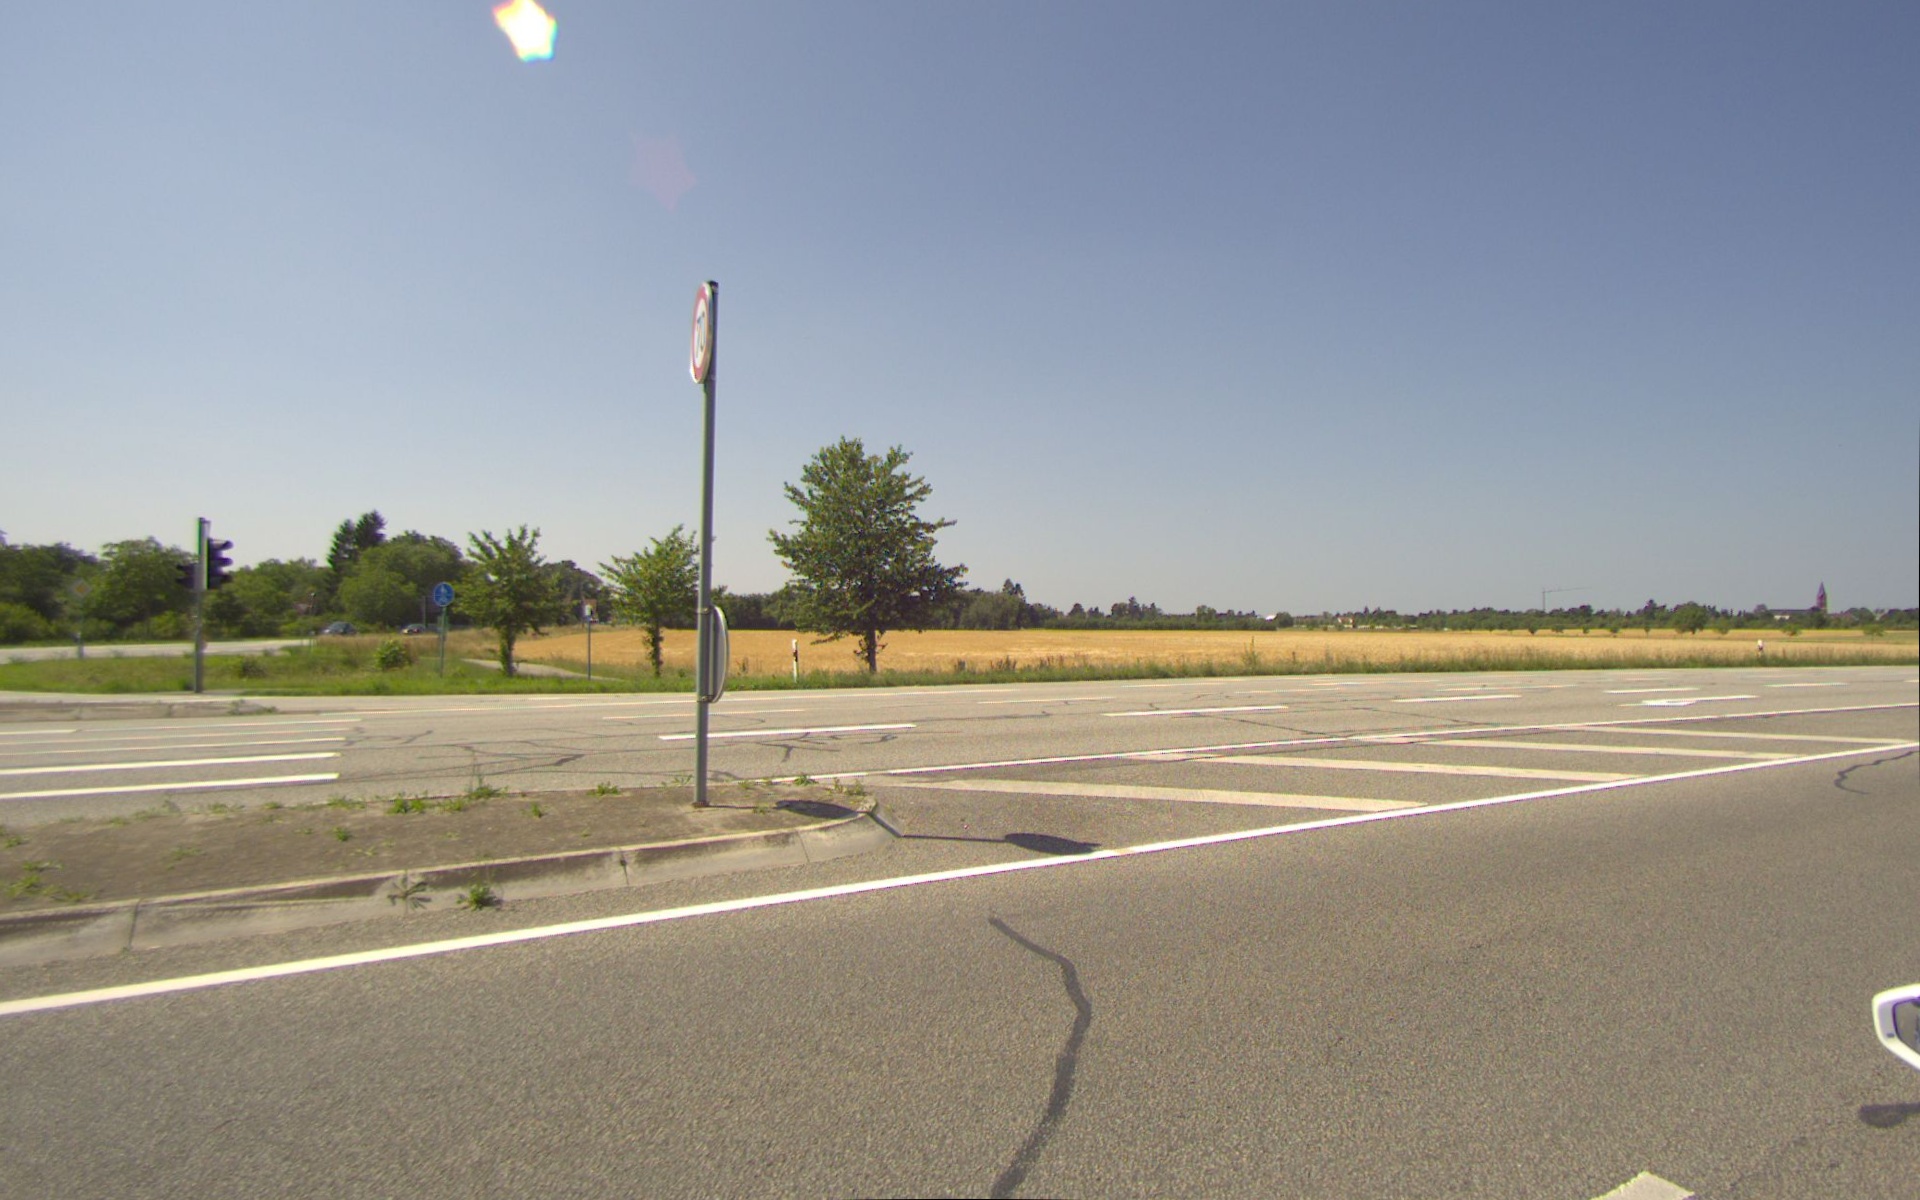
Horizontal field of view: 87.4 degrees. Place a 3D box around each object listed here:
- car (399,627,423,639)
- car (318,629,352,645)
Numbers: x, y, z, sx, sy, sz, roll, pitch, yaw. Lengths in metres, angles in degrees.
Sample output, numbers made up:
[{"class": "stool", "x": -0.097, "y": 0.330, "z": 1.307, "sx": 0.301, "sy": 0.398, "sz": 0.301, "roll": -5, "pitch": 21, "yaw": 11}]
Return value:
[{"class": "car", "x": -65.395, "y": 3.888, "z": 119.759, "sx": 1.473, "sy": 1.405, "sz": 3.767, "roll": 0, "pitch": -2, "yaw": -12}, {"class": "car", "x": -57.561, "y": 3.409, "z": 92.577, "sx": 1.473, "sy": 1.405, "sz": 3.767, "roll": 0, "pitch": -2, "yaw": -12}]
